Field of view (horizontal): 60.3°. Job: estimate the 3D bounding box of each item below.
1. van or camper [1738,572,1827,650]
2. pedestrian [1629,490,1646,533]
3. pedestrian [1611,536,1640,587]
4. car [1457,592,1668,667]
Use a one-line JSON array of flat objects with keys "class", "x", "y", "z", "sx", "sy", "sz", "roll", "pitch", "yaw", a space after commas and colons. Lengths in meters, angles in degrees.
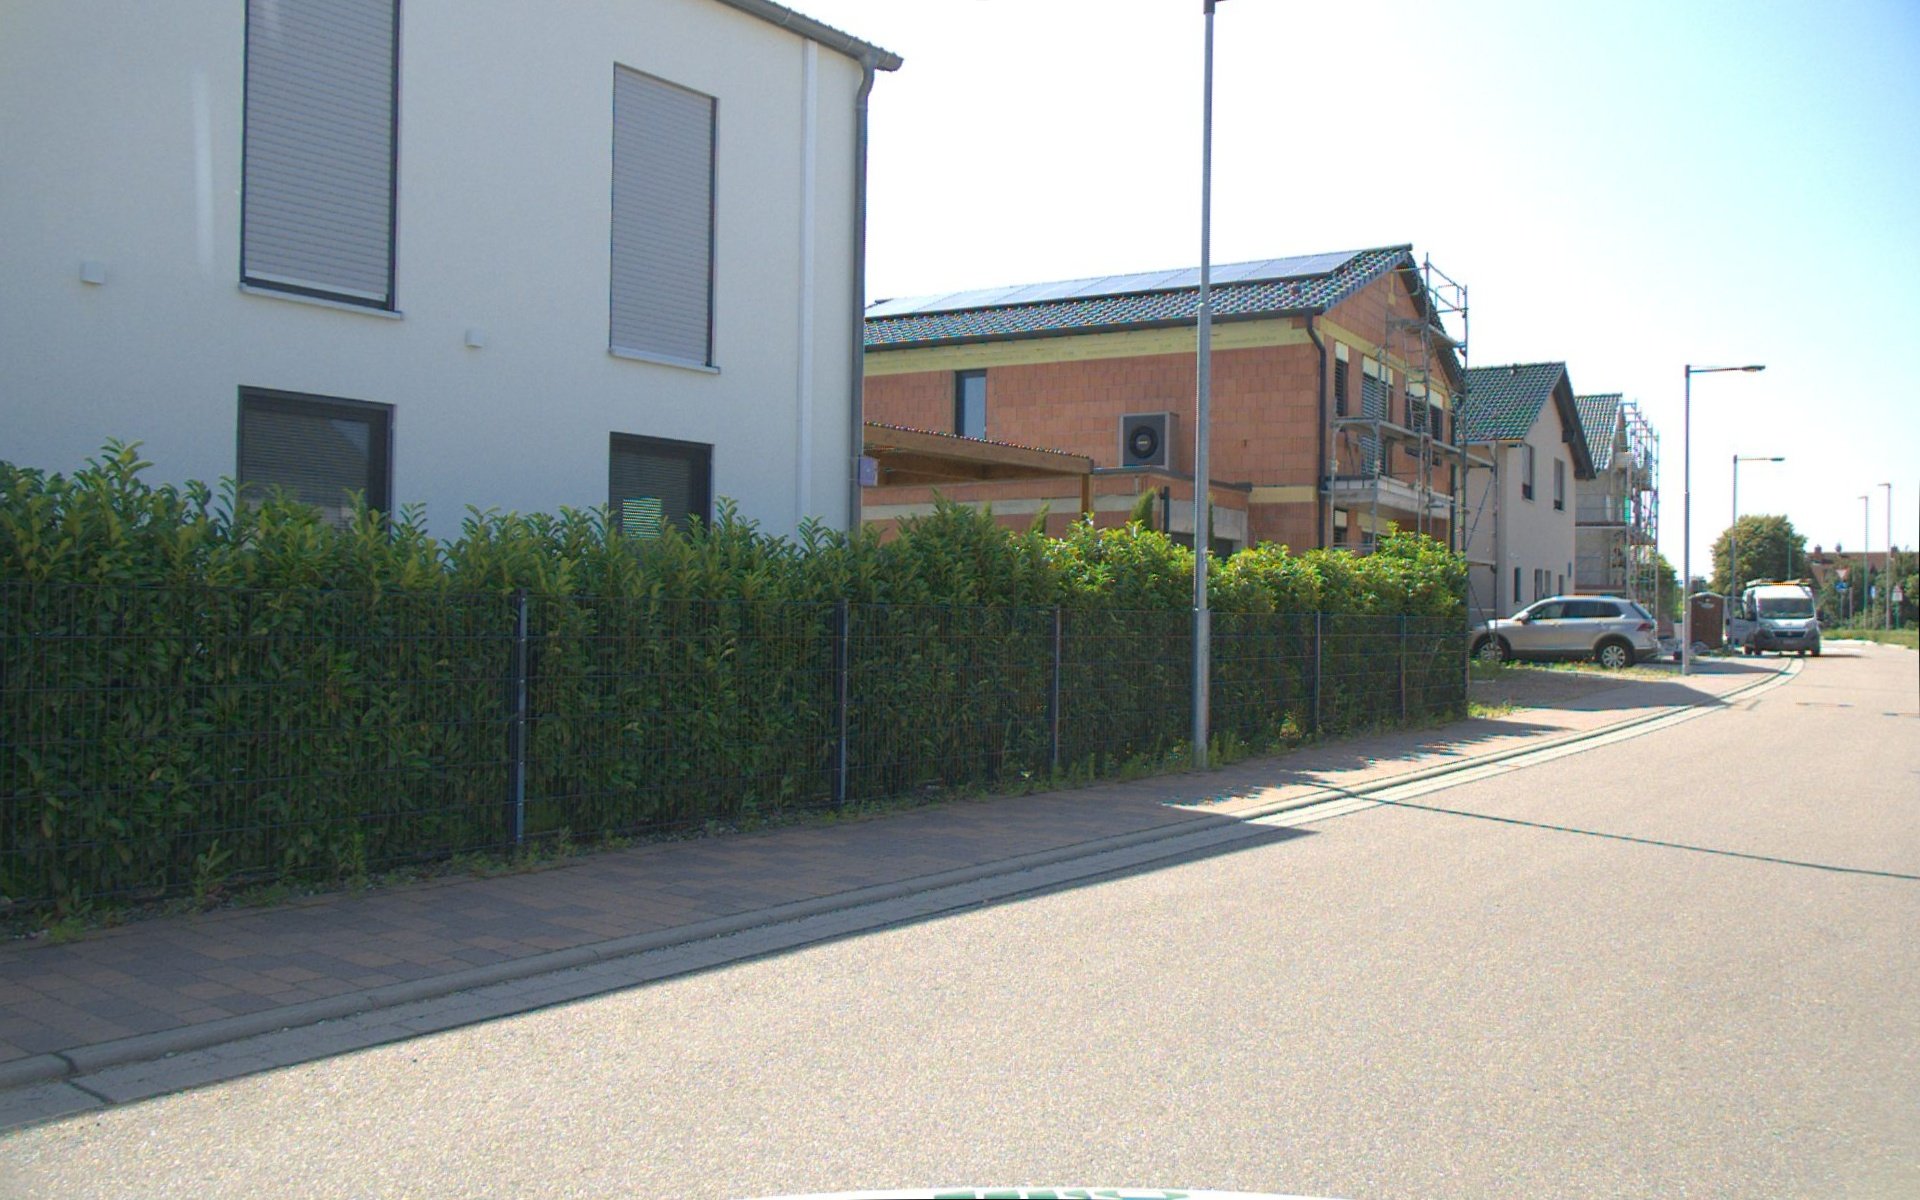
[{"class": "van or camper", "x": 29.197, "y": 0.426, "z": 58.908, "sx": 2.226, "sy": 2.598, "sz": 6.367, "roll": 0, "pitch": -1, "yaw": 21}, {"class": "pedestrian", "x": 25.134, "y": -3.264, "z": 61.328, "sx": 0.550, "sy": 1.526, "sz": 0.748, "roll": 0, "pitch": -3, "yaw": 25}, {"class": "pedestrian", "x": 23.025, "y": -1.342, "z": 57.228, "sx": 0.733, "sy": 1.709, "sz": 0.576, "roll": 2, "pitch": -3, "yaw": -15}, {"class": "car", "x": 13.822, "y": 0.649, "z": 37.959, "sx": 4.339, "sy": 1.640, "sz": 1.997, "roll": 0, "pitch": 0, "yaw": 28}]
